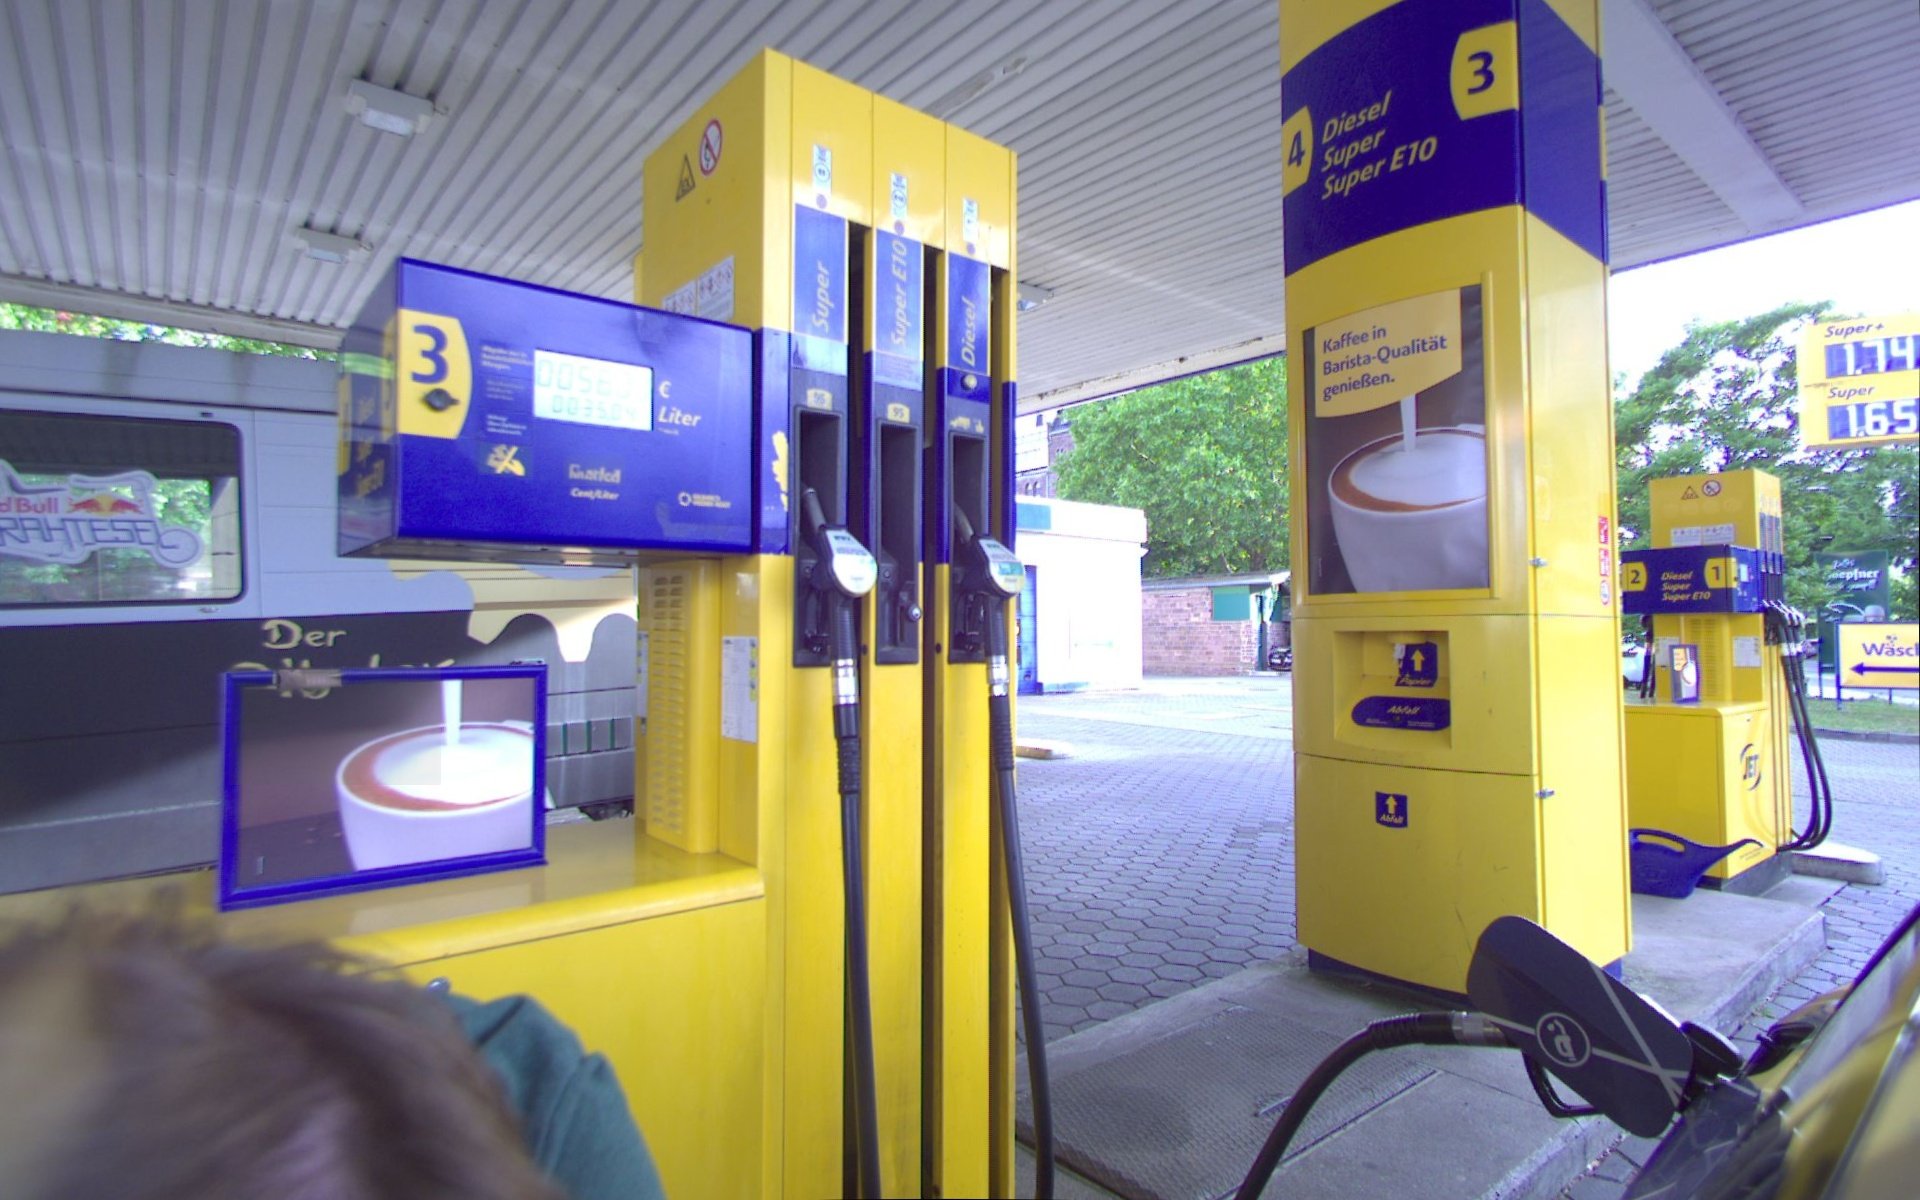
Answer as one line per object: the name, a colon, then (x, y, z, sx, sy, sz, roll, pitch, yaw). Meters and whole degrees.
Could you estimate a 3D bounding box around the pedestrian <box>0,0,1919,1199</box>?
pedestrian: (-0.337, 0.520, 0.564, 0.975, 1.750, 1.182, -2, 1, -36)

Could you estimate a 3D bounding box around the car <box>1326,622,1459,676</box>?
car: (13.774, 1.558, 32.169, 4.112, 1.606, 1.826, 2, -3, -31)

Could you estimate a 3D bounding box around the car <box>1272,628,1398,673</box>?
car: (12.635, 1.689, 34.032, 4.112, 1.453, 1.826, 2, -3, -31)

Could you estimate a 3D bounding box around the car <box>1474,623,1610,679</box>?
car: (17.764, 1.569, 30.851, 4.112, 1.606, 1.826, 2, -3, -31)

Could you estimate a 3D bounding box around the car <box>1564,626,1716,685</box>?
car: (18.247, 1.478, 27.134, 4.112, 1.478, 1.826, 2, -3, -31)

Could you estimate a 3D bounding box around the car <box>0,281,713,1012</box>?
car: (-4.103, 0.184, 4.854, 5.248, 2.760, 2.201, 0, -1, -39)
